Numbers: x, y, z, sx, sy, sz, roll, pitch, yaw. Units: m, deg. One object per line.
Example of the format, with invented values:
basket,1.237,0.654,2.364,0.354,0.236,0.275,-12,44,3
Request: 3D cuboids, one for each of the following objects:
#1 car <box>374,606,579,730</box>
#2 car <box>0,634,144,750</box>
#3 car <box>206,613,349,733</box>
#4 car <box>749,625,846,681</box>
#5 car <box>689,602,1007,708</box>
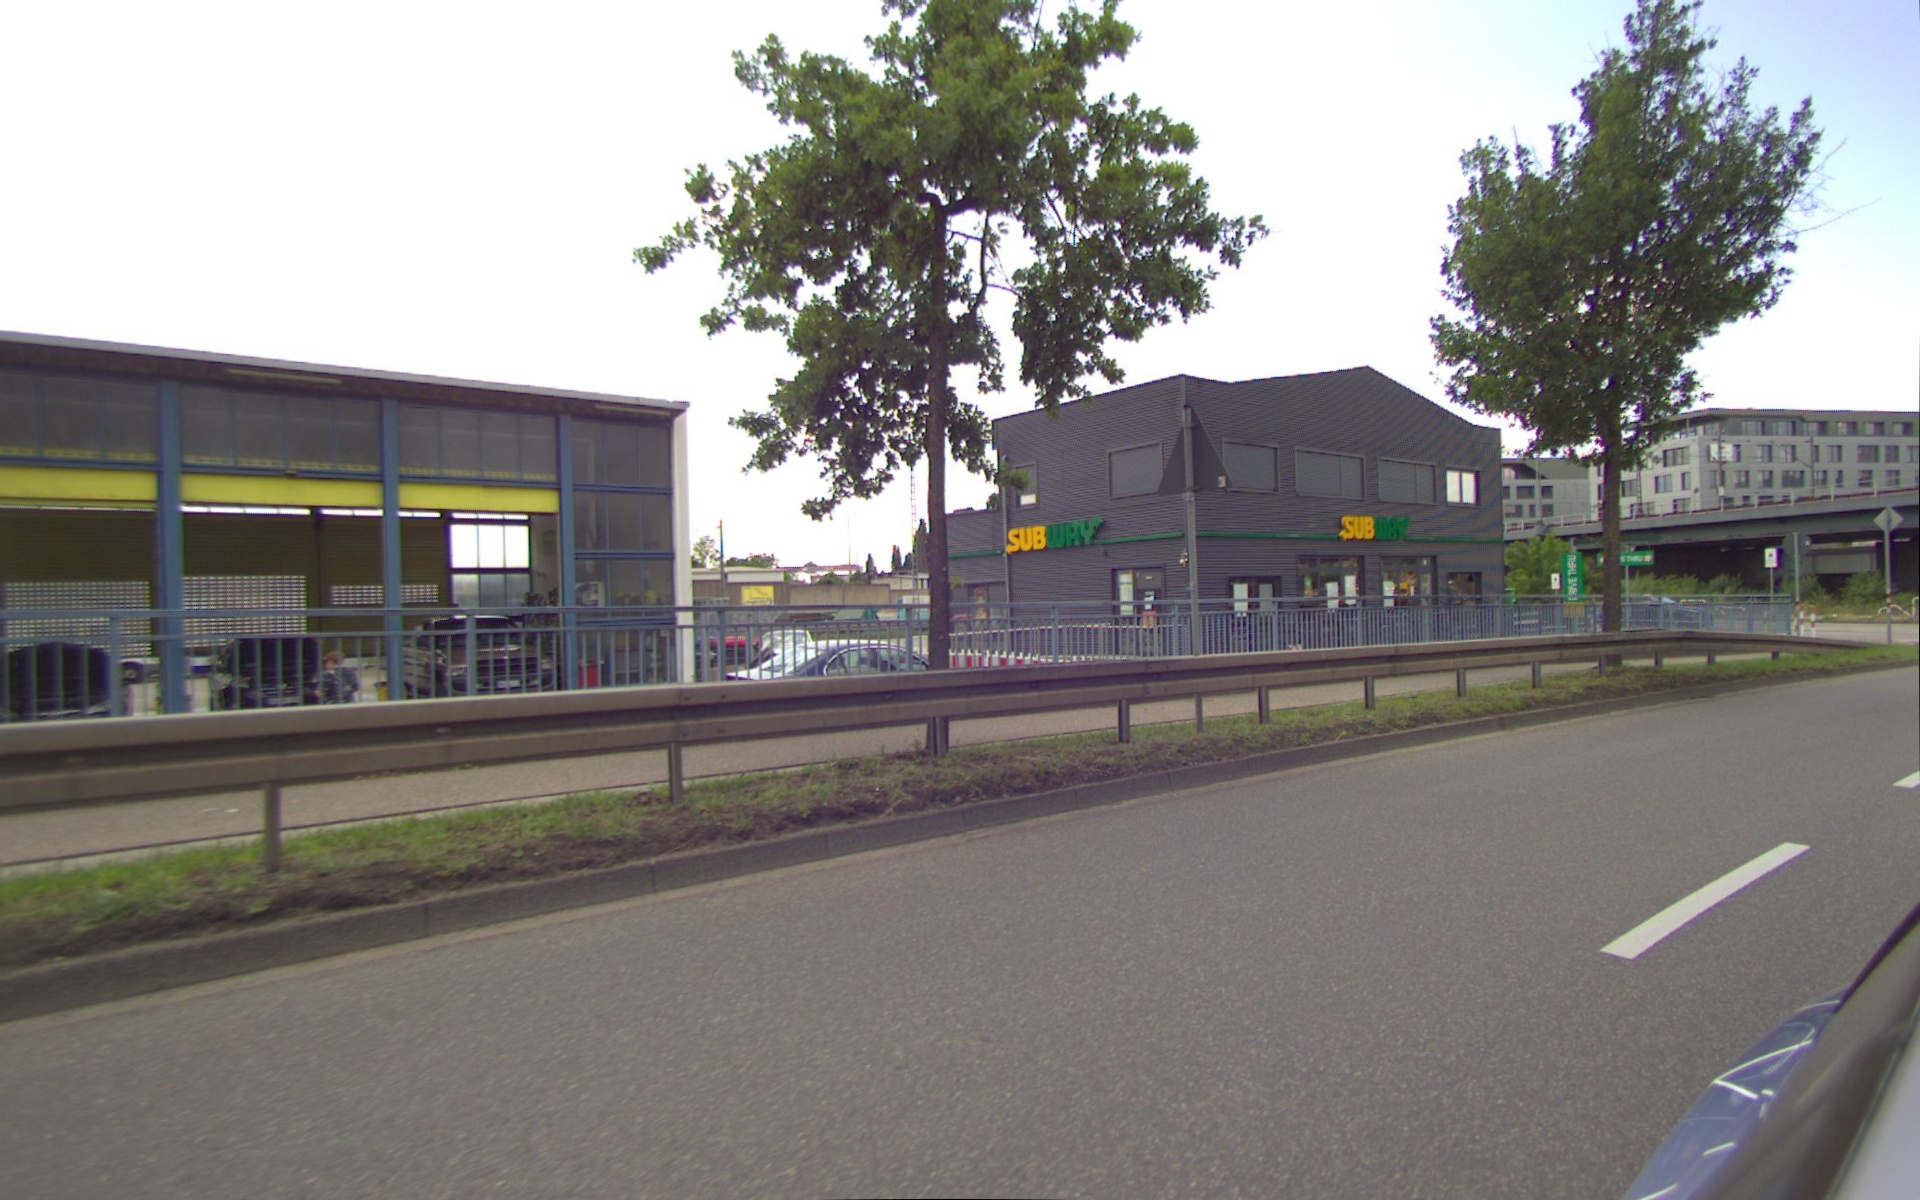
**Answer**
car,-9.815,1.184,20.218,2.194,2.039,5.811,-2,1,-41
car,-16.222,1.545,18.289,2.123,1.650,4.785,0,0,-37
car,-14.010,1.338,20.644,2.191,2.039,4.785,0,0,-37
car,-4.507,1.432,28.669,1.963,1.301,4.377,0,1,1
car,-1.672,0.751,15.978,4.662,1.376,1.999,0,1,-37
